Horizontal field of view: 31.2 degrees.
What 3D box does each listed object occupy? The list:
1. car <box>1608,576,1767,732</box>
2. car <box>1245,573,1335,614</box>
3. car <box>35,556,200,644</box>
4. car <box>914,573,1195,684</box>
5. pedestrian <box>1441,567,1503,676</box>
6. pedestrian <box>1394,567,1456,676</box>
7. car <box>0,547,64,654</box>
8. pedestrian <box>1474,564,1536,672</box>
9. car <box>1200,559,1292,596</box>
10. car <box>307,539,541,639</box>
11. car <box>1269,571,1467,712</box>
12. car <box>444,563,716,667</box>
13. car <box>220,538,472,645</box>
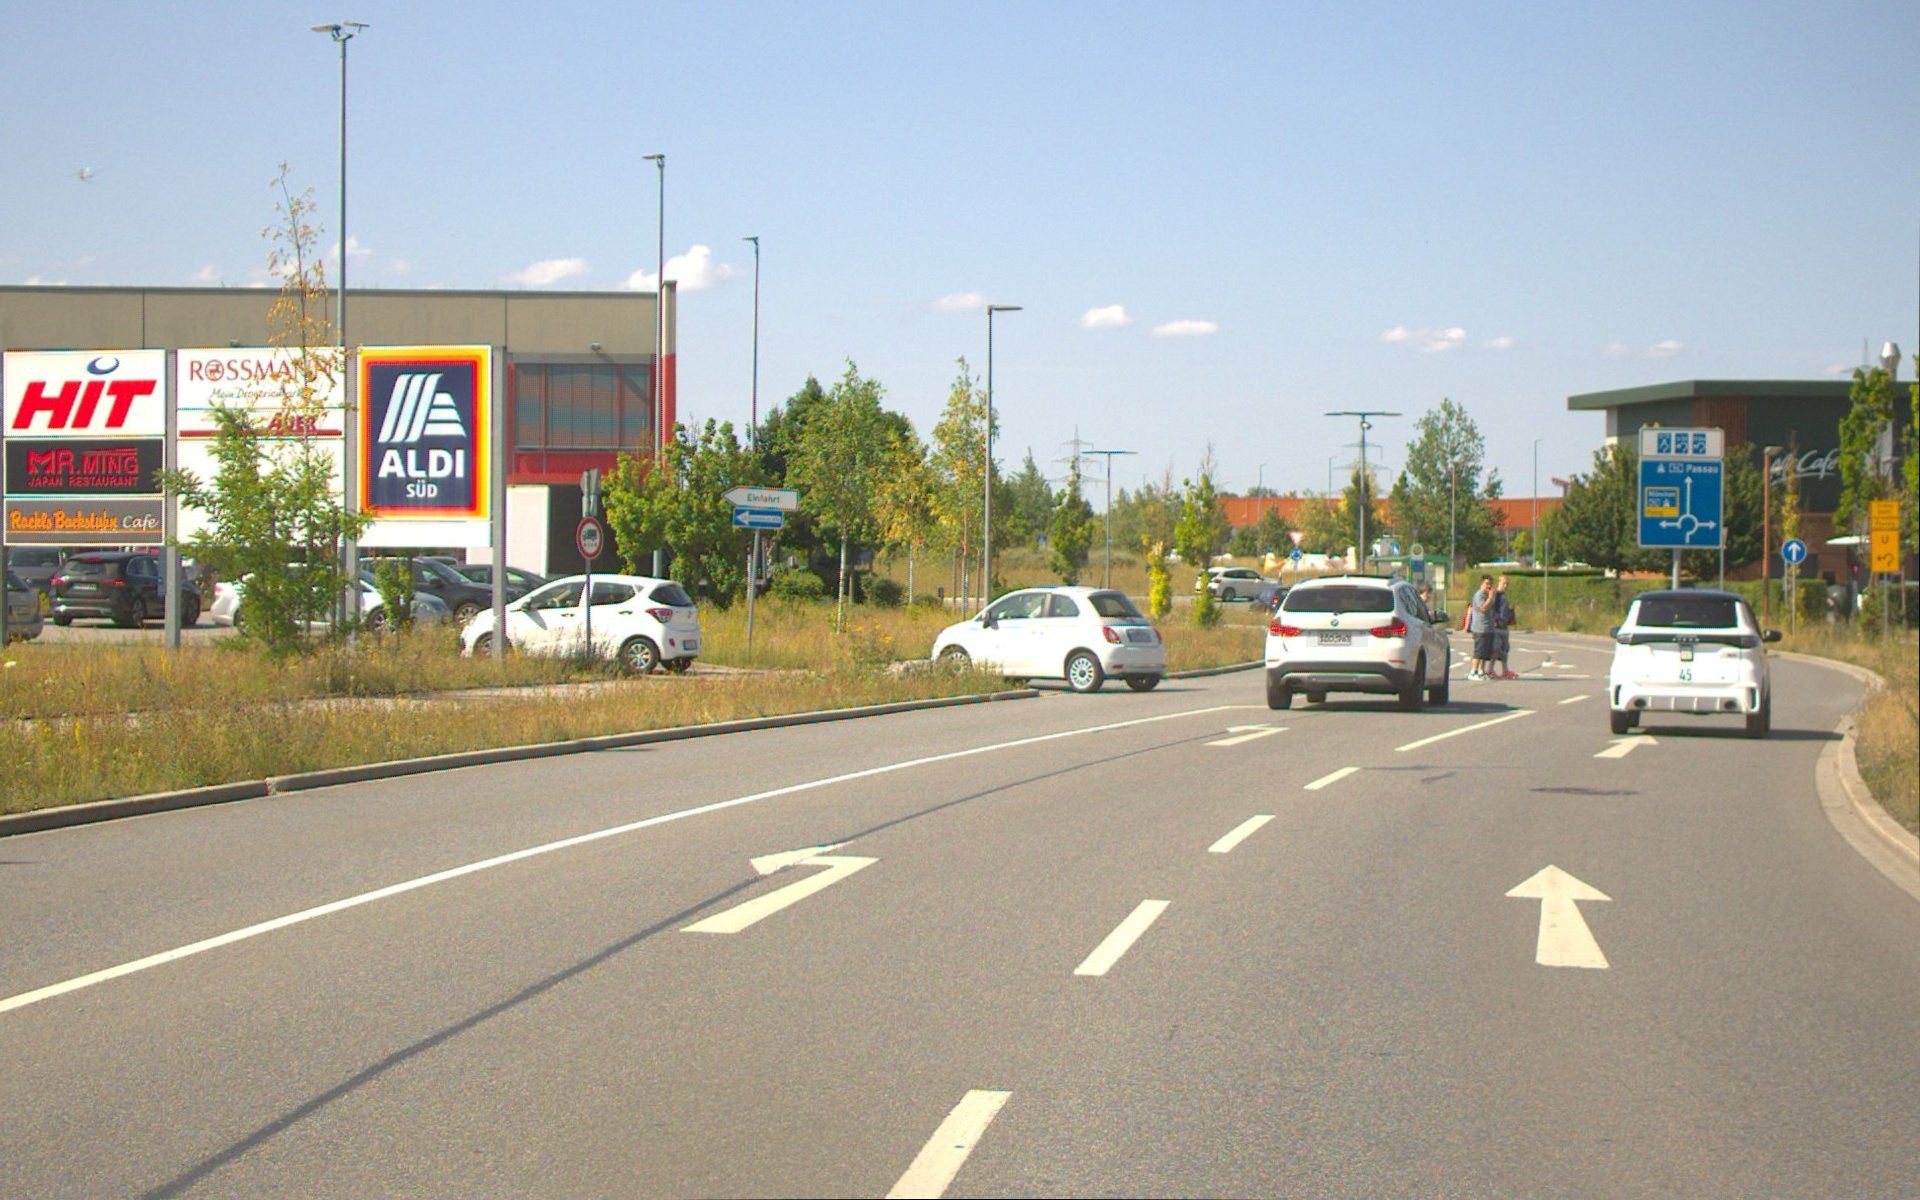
[{"bbox_3d":[7.558,0.521,35.556,1.475,1.485,2.999,1,1,14],"label":"car"},{"bbox_3d":[13.111,-0.275,136.749,1.822,1.536,4.001,0,1,-24],"label":"car"},{"bbox_3d":[-17.416,-0.035,71.287,1.994,1.755,4.484,0,1,5],"label":"car"},{"bbox_3d":[1.360,0.393,50.017,3.779,1.546,1.738,0,1,37],"label":"car"},{"bbox_3d":[7.877,0.326,52.883,0.666,1.658,0.709,1,1,41],"label":"pedestrian"},{"bbox_3d":[7.191,0.329,53.200,0.666,1.658,0.709,1,1,41],"label":"pedestrian"},{"bbox_3d":[-17.180,0.000,56.392,4.475,1.709,1.998,0,1,22],"label":"car"},{"bbox_3d":[8.463,0.266,53.377,0.666,1.658,0.709,1,1,41],"label":"pedestrian"},{"bbox_3d":[13.657,-1.084,164.093,3.987,1.722,2.000,0,1,-31],"label":"car"},{"bbox_3d":[-11.223,-0.233,72.167,4.471,2.031,2.000,0,1,6],"label":"car"},{"bbox_3d":[4.901,0.447,40.769,1.737,1.546,4.567,0,1,14],"label":"car"},{"bbox_3d":[-5.813,0.220,52.769,3.773,1.546,1.740,0,1,14],"label":"car"},{"bbox_3d":[-11.975,-0.167,67.211,4.471,2.031,2.000,0,1,6],"label":"car"}]
